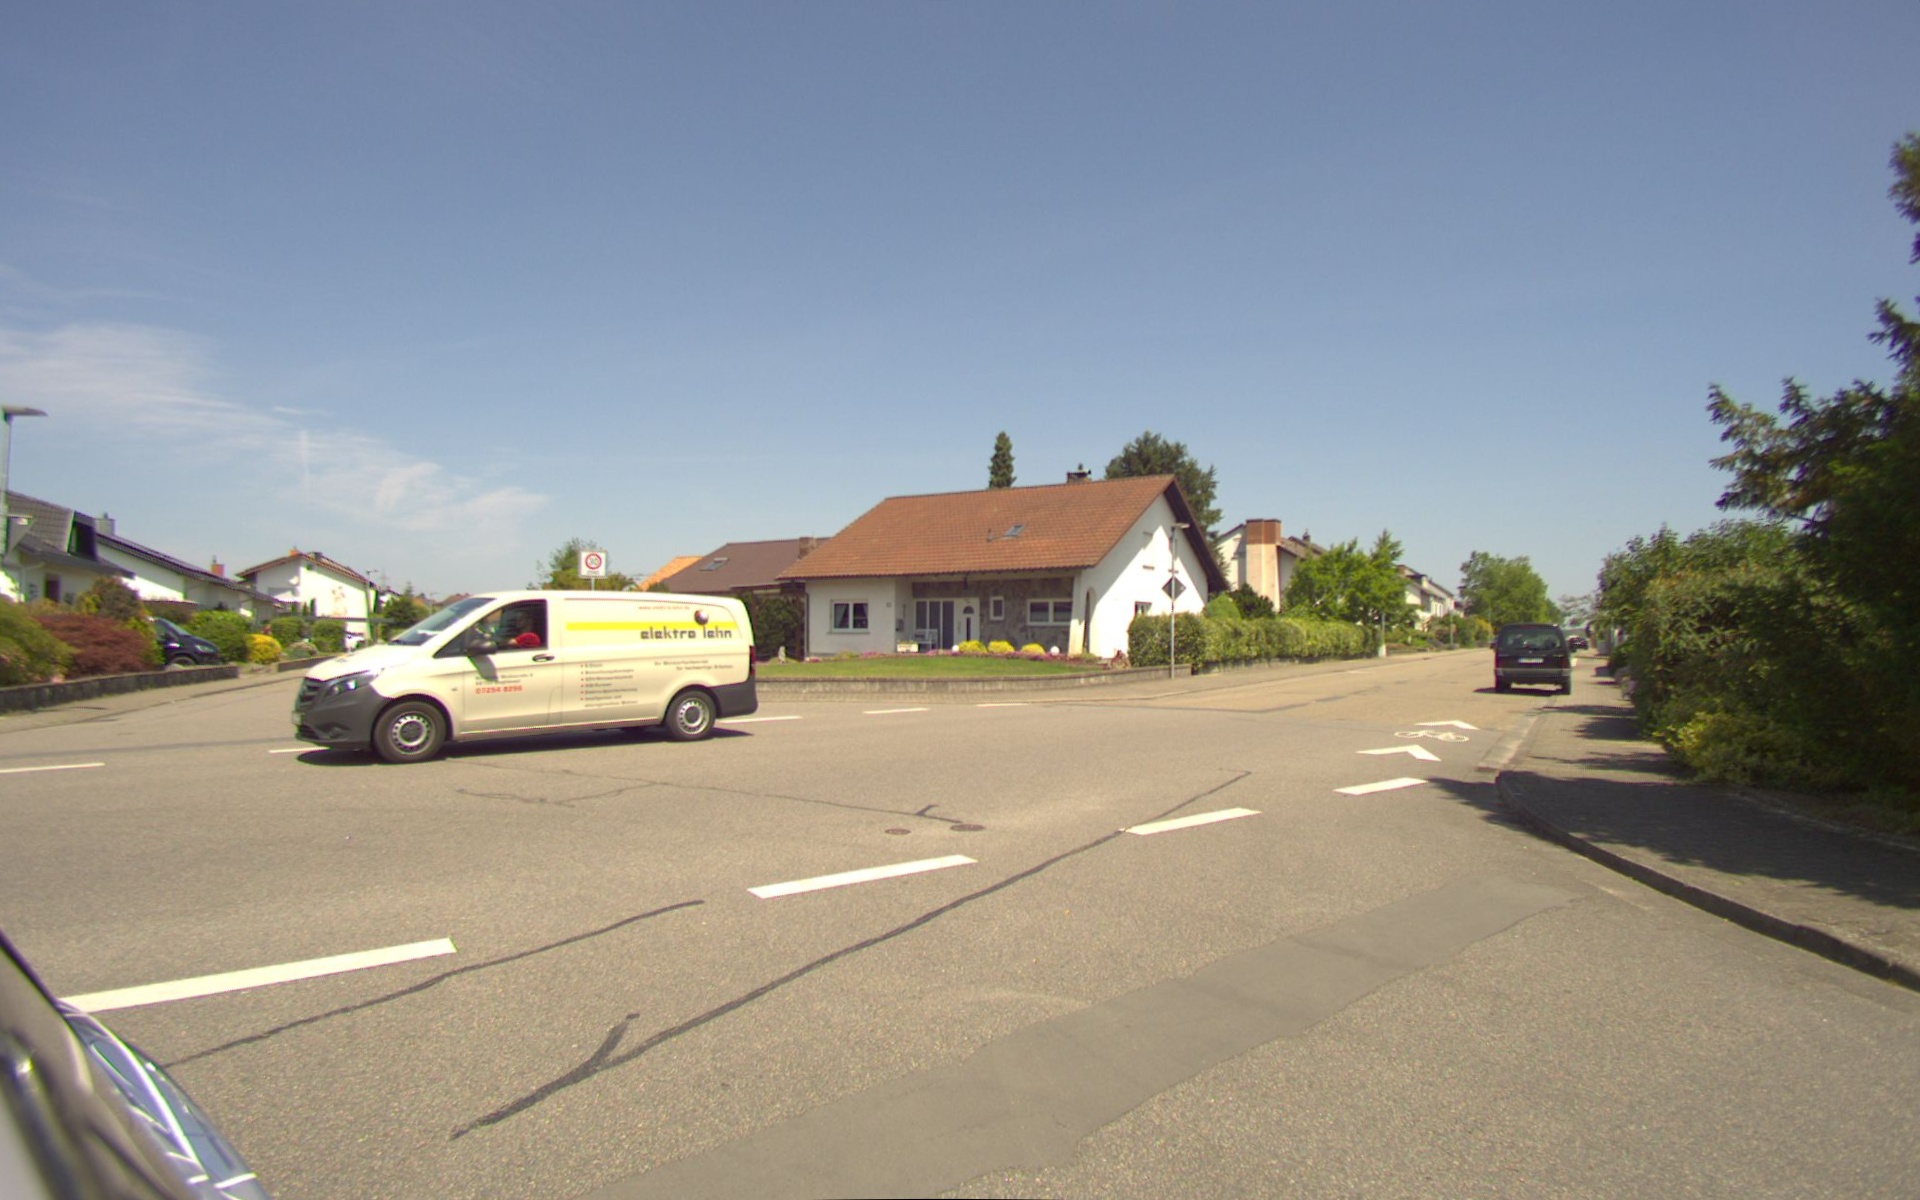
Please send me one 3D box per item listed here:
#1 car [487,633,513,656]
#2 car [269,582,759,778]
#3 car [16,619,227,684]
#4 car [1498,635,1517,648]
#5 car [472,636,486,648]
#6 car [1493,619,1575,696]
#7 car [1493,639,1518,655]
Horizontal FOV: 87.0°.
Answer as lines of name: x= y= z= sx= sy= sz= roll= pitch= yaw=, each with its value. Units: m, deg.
car: x=-38.214 y=3.658 z=84.115 sx=1.796 sy=1.896 sz=4.013 roll=1 pitch=-2 yaw=-22
car: x=-5.112 y=0.834 z=12.133 sx=4.991 sy=1.870 sz=2.022 roll=2 pitch=-2 yaw=-43
car: x=-26.517 y=1.606 z=32.266 sx=4.881 sy=1.930 sz=1.934 roll=1 pitch=-3 yaw=-30
car: x=72.241 y=5.450 z=133.548 sx=1.992 sy=1.619 sz=3.958 roll=-1 pitch=-2 yaw=30
car: x=-79.938 y=6.922 z=168.236 sx=1.844 sy=1.940 sz=4.013 roll=1 pitch=-2 yaw=-28
car: x=15.128 y=1.457 z=26.591 sx=1.718 sy=1.860 sz=4.011 roll=-1 pitch=-2 yaw=31
car: x=60.218 y=5.175 z=111.773 sx=1.995 sy=1.608 sz=3.953 roll=-1 pitch=-2 yaw=35
